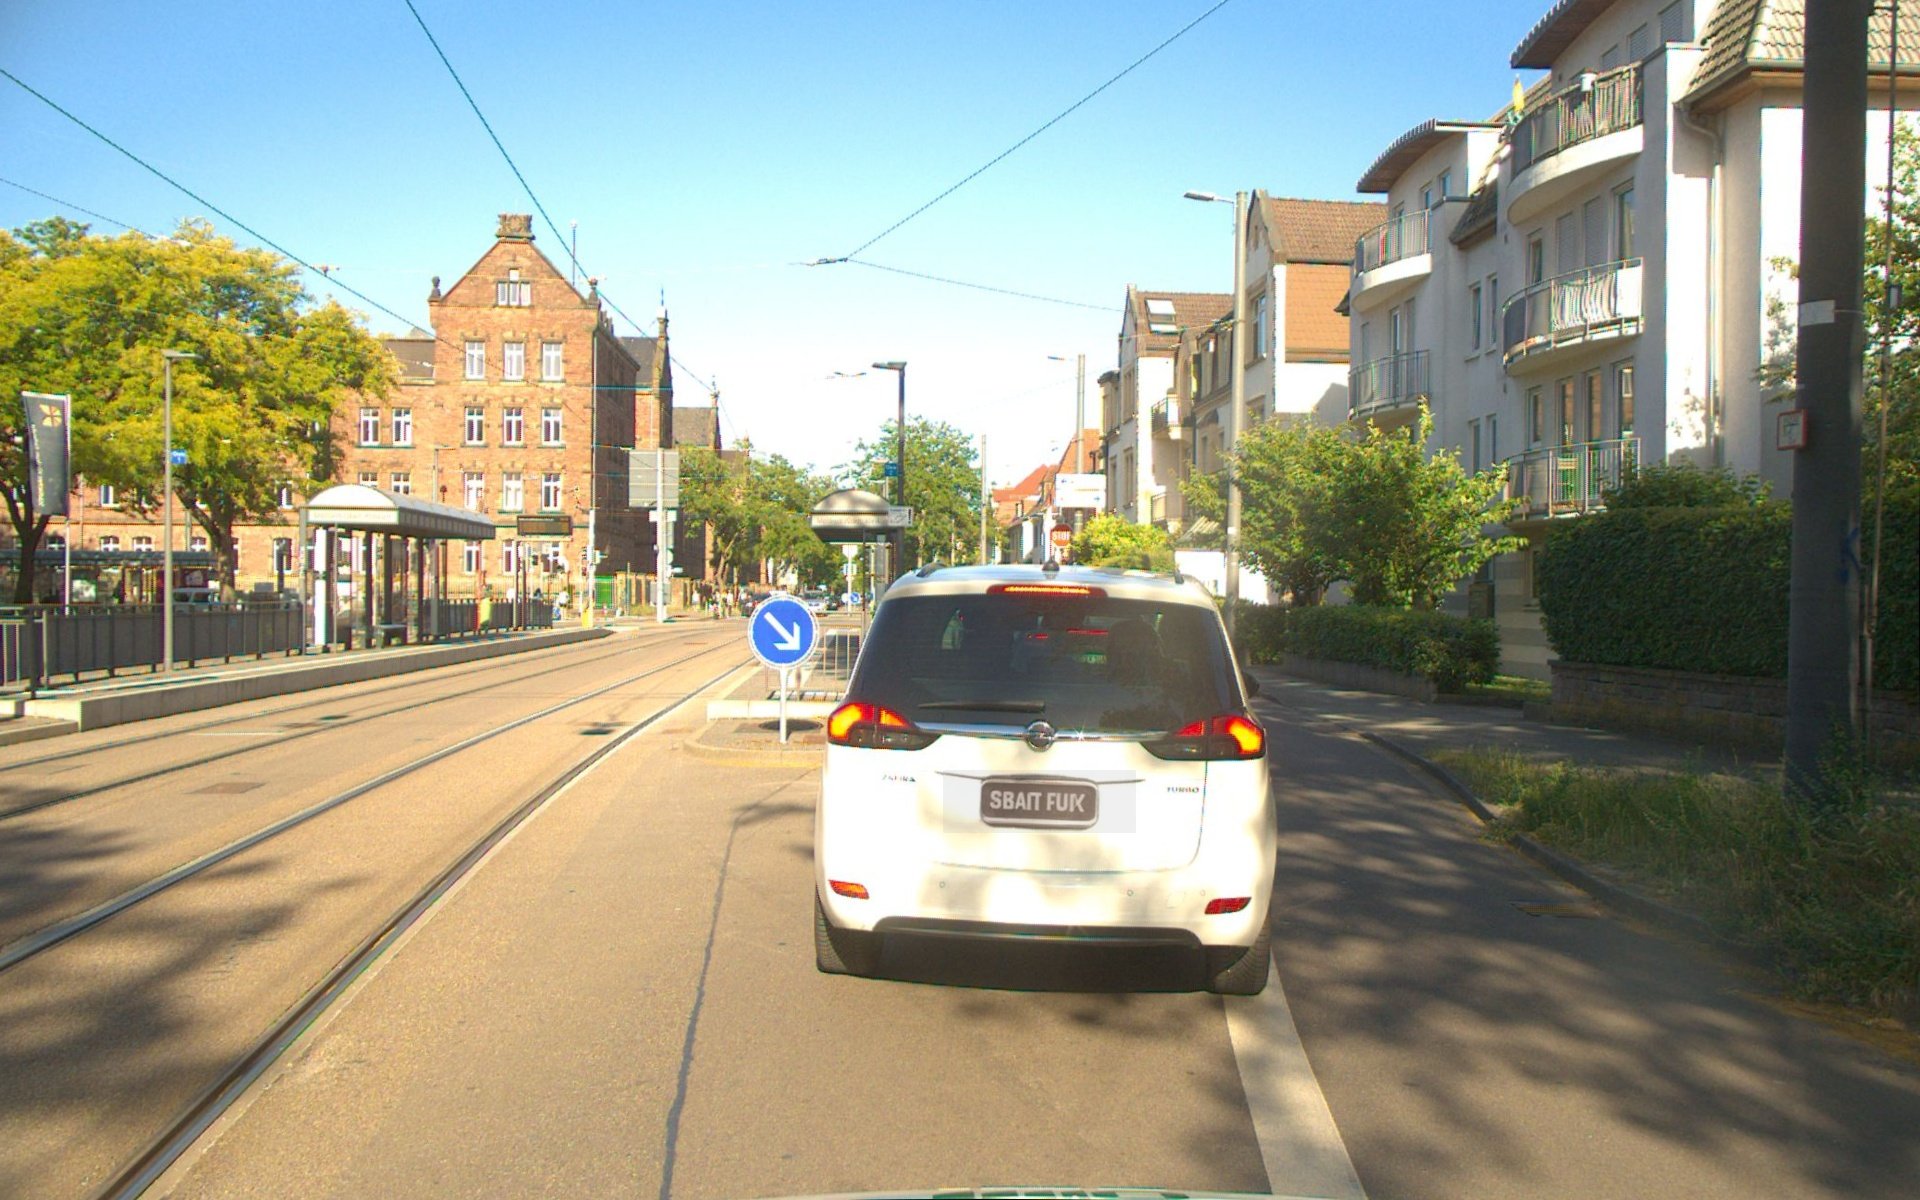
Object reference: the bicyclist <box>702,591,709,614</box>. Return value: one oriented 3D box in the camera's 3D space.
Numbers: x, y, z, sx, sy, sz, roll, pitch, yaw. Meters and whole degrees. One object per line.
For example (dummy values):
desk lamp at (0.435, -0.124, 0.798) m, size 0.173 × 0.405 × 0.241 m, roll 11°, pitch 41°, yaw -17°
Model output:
bicyclist at (-17.642, 0.187, 114.823) m, size 0.435 × 1.580 × 0.495 m, roll 0°, pitch 0°, yaw -4°

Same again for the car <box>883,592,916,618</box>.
car at (-3.904, 0.320, 106.369) m, size 1.954 × 1.657 × 3.997 m, roll 0°, pitch 0°, yaw -4°

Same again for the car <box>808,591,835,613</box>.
car at (-10.933, 0.146, 130.483) m, size 1.953 × 1.657 × 3.998 m, roll 0°, pitch 0°, yaw -3°

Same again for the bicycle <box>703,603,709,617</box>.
bicycle at (-17.648, 0.663, 114.859) m, size 0.337 × 0.966 × 0.996 m, roll 1°, pitch 0°, yaw -4°

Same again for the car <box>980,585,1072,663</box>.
car at (1.380, 0.494, 36.190) m, size 1.793 × 1.607 × 4.009 m, roll 0°, pitch 0°, yaw -1°

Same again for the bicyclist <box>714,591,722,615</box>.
bicyclist at (-15.568, 0.188, 106.324) m, size 0.435 × 1.580 × 0.495 m, roll 0°, pitch 0°, yaw -4°

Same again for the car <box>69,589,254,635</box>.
car at (-35.722, 0.532, 74.193) m, size 6.810 × 1.954 × 2.991 m, roll 0°, pitch 0°, yaw -2°

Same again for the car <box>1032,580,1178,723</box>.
car at (1.740, 0.586, 20.842) m, size 1.603 × 1.629 × 3.855 m, roll 0°, pitch 0°, yaw 1°

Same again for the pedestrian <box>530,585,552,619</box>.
pedestrian at (-21.179, 0.111, 83.627) m, size 0.825 × 1.721 × 1.029 m, roll 1°, pitch 0°, yaw -1°

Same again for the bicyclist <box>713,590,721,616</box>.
bicyclist at (-15.148, 0.180, 103.048) m, size 0.435 × 1.580 × 0.742 m, roll 0°, pitch 0°, yaw -4°

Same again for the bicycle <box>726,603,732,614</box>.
bicycle at (-16.523, 0.599, 118.239) m, size 0.337 × 0.737 × 0.996 m, roll 1°, pitch 0°, yaw -4°

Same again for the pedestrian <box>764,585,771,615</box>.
pedestrian at (-13.046, 0.021, 112.051) m, size 0.435 × 2.049 × 0.495 m, roll 0°, pitch 0°, yaw -4°

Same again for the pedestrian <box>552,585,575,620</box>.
pedestrian at (-19.902, 0.123, 83.002) m, size 0.877 × 1.713 × 1.029 m, roll 1°, pitch 0°, yaw -1°

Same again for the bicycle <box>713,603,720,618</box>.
bicycle at (-15.156, 0.655, 102.840) m, size 0.337 × 0.966 × 1.159 m, roll 1°, pitch 0°, yaw -4°

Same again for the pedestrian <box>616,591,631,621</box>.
pedestrian at (-19.625, 0.355, 96.463) m, size 0.719 × 1.744 × 0.706 m, roll 1°, pitch -1°, yaw -1°

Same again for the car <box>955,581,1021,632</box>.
car at (0.831, 0.193, 51.767) m, size 1.953 × 1.529 × 3.999 m, roll 0°, pitch 0°, yaw -1°

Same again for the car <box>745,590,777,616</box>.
car at (-12.850, 0.199, 106.887) m, size 1.955 × 1.657 × 3.996 m, roll 0°, pitch 0°, yaw -5°

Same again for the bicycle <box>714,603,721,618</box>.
bicycle at (-15.605, 0.662, 106.366) m, size 0.337 × 0.966 × 0.996 m, roll 1°, pitch 0°, yaw -4°

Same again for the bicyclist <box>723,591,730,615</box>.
bicyclist at (-15.377, 0.202, 108.911) m, size 0.435 × 1.580 × 0.495 m, roll 0°, pitch 0°, yaw -4°

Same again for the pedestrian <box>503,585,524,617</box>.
pedestrian at (-22.654, 0.057, 83.890) m, size 0.786 × 1.616 × 0.934 m, roll 1°, pitch 0°, yaw -3°

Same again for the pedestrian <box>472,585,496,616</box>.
pedestrian at (-25.314, 0.029, 88.035) m, size 0.913 × 1.616 × 0.804 m, roll 1°, pitch -1°, yaw 22°

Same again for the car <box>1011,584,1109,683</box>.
car at (1.713, 0.552, 29.270) m, size 1.603 × 1.629 × 3.855 m, roll 0°, pitch 0°, yaw 1°

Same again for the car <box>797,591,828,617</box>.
car at (-9.540, 0.249, 107.160) m, size 1.955 × 1.657 × 3.996 m, roll 0°, pitch 0°, yaw -5°

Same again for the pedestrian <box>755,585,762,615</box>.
pedestrian at (-13.640, 0.010, 111.737) m, size 0.435 × 2.049 × 0.495 m, roll 0°, pitch 0°, yaw -4°

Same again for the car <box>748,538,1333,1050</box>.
car at (0.454, 0.648, 7.596) m, size 1.951 × 1.673 × 3.996 m, roll 1°, pitch 0°, yaw 6°

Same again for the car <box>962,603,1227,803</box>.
car at (1.029, 0.749, 13.984) m, size 1.912 × 1.422 × 4.001 m, roll 0°, pitch 0°, yaw 1°

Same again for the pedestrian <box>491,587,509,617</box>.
pedestrian at (-24.647, 0.113, 88.575) m, size 0.791 × 1.616 × 0.928 m, roll 1°, pitch -1°, yaw -22°

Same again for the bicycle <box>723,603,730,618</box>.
bicycle at (-15.387, 0.677, 108.918) m, size 0.337 × 0.966 × 0.996 m, roll 1°, pitch 0°, yaw -4°

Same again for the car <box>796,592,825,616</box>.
car at (-10.344, 0.265, 114.253) m, size 1.955 × 1.657 × 3.996 m, roll 0°, pitch 0°, yaw -5°

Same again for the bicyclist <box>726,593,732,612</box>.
bicyclist at (-16.519, 0.195, 118.237) m, size 0.337 × 1.343 × 0.404 m, roll 1°, pitch -1°, yaw -4°

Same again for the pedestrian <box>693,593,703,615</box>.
pedestrian at (-21.028, 0.342, 132.603) m, size 0.720 × 1.744 × 0.753 m, roll 1°, pitch -1°, yaw -6°
